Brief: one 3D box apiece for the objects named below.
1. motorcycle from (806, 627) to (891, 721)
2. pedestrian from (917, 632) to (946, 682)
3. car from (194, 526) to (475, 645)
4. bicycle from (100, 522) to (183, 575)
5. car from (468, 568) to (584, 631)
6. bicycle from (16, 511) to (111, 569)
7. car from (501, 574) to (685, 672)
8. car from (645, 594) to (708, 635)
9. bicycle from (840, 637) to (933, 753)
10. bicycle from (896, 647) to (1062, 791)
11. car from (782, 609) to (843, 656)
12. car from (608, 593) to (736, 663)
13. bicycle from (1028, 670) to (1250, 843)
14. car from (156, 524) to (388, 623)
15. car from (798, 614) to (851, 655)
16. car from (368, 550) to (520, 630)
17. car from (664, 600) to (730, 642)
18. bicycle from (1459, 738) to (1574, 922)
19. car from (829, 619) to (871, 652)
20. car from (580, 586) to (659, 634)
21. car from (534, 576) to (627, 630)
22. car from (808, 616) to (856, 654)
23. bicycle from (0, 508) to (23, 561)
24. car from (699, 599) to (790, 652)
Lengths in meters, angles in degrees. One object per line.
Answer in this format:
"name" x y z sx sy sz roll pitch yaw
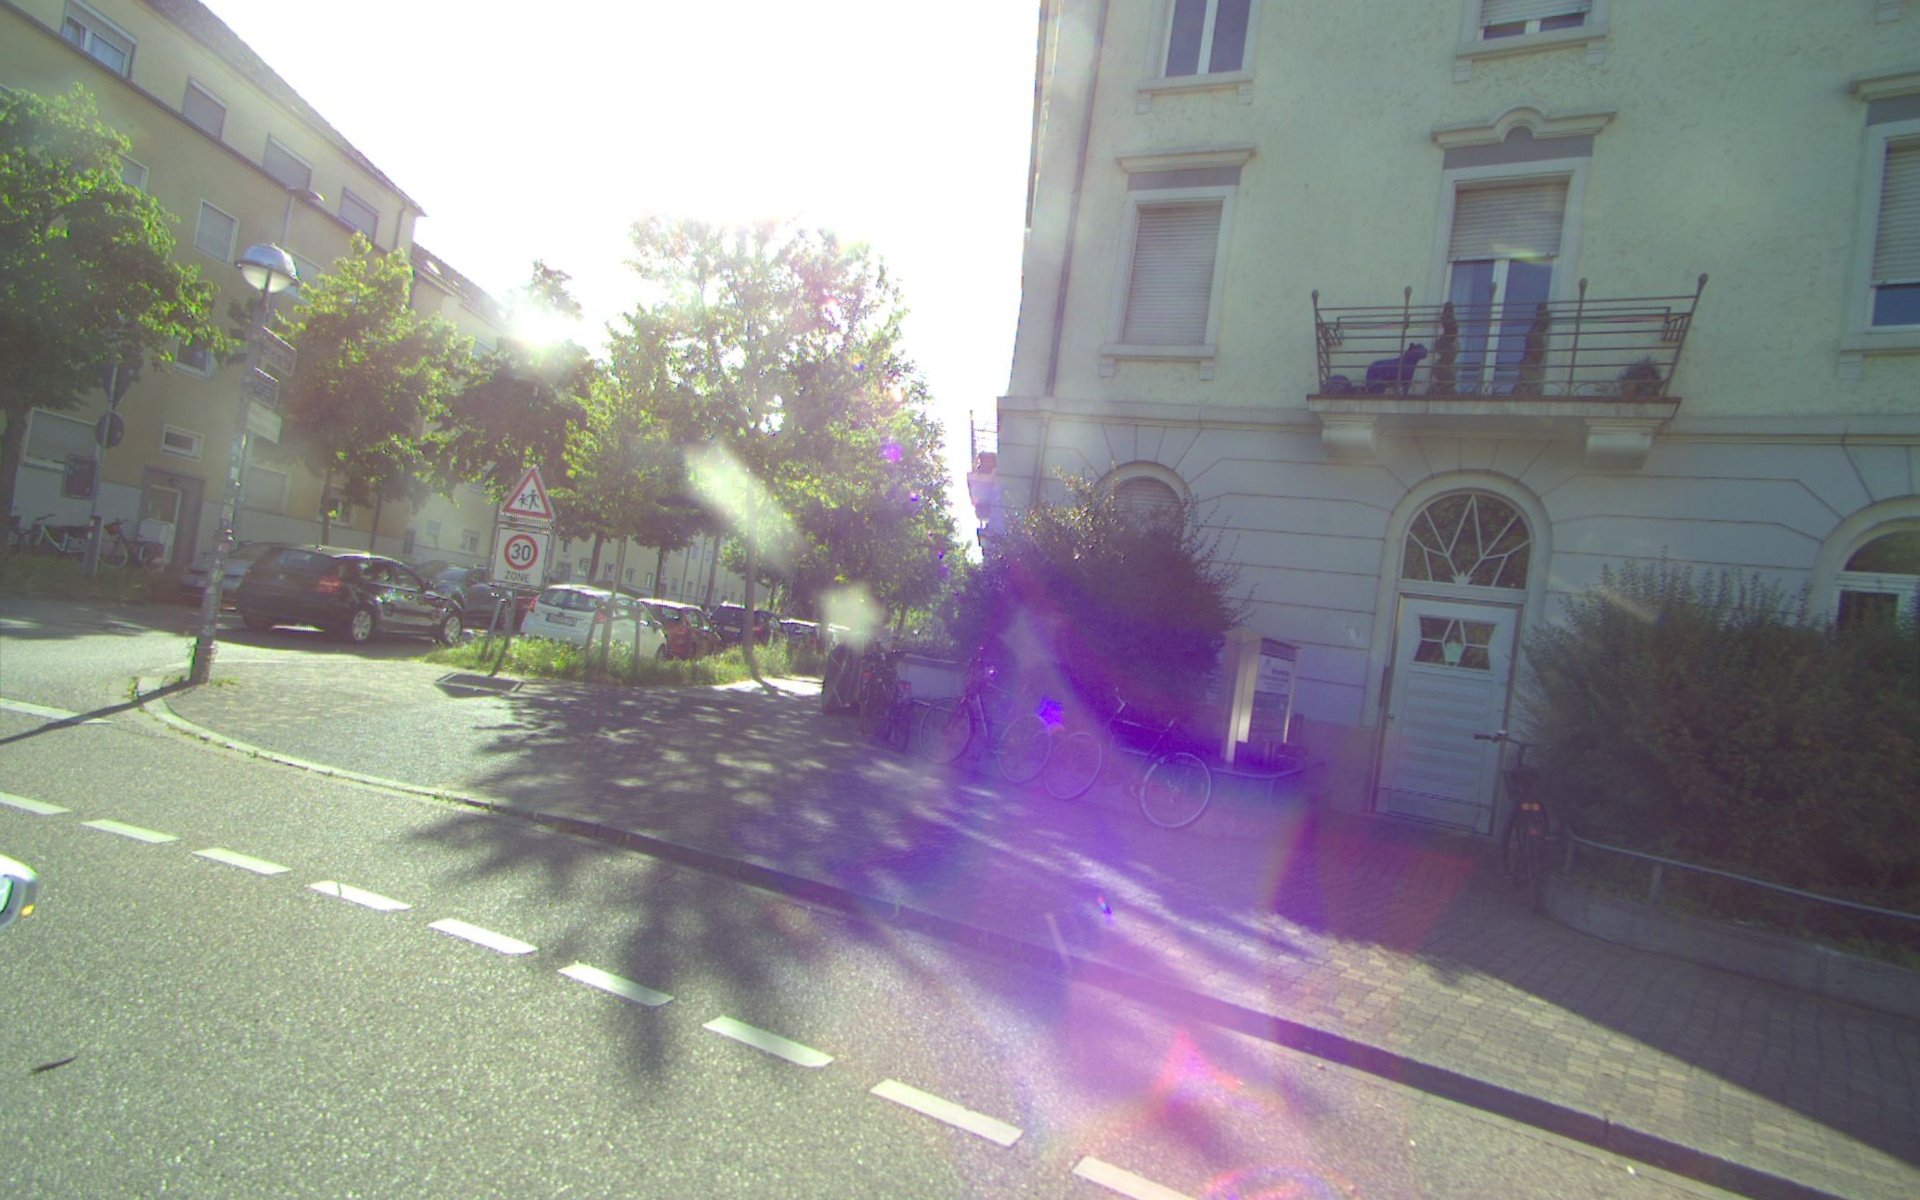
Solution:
"motorcycle" -1.604 1.058 14.724 0.871 1.205 1.491 6 -2 4
"pedestrian" -1.023 2.083 36.721 0.820 1.705 0.749 8 -1 0
"car" -9.868 -0.116 16.324 1.836 1.435 4.004 8 -3 2
"bicycle" -19.678 -1.217 24.219 0.490 1.038 1.452 8 -2 14
"car" -13.321 0.047 31.173 1.767 1.527 4.003 8 -3 -1
"bicycle" -19.853 -1.312 22.307 0.490 1.038 1.452 8 -2 14
"car" -6.820 0.509 19.202 1.767 1.428 4.005 8 -3 2
"car" -13.478 0.733 48.106 1.767 1.593 4.003 8 -3 -1
"bicycle" -0.908 1.076 11.907 0.493 1.120 1.943 8 -1 -18
"bicycle" 0.143 1.132 9.921 0.496 1.120 1.781 8 -1 -38
"car" -5.812 1.318 40.017 1.767 1.527 4.003 8 -3 -1
"car" -6.673 0.700 23.743 1.767 1.269 3.723 8 -3 1
"bicycle" 1.471 1.279 8.570 0.497 1.120 1.777 8 -1 -44
"car" -13.506 -0.436 20.097 1.771 1.426 4.003 8 -3 -1
"car" -5.993 1.548 44.859 1.767 1.527 4.003 8 -3 -1
"car" -13.272 -0.182 26.180 1.767 1.593 4.003 8 -3 -1
"car" -11.533 0.979 44.394 1.767 1.527 4.003 8 -3 -1
"bicycle" 4.171 1.631 7.482 0.492 1.120 1.679 7 -2 34
"car" -5.954 1.945 54.775 1.767 1.527 4.003 8 -3 -1
"car" -13.969 0.458 41.512 1.767 1.593 4.003 8 -3 -1
"car" -13.553 0.167 36.180 1.767 1.527 4.003 8 -3 -1
"car" -6.269 1.746 49.573 1.767 1.527 4.003 8 -3 -1
"bicycle" -19.970 -1.416 20.283 0.490 1.038 1.452 8 -2 14
"car" -6.424 0.821 30.345 1.767 1.269 3.723 8 -3 1
